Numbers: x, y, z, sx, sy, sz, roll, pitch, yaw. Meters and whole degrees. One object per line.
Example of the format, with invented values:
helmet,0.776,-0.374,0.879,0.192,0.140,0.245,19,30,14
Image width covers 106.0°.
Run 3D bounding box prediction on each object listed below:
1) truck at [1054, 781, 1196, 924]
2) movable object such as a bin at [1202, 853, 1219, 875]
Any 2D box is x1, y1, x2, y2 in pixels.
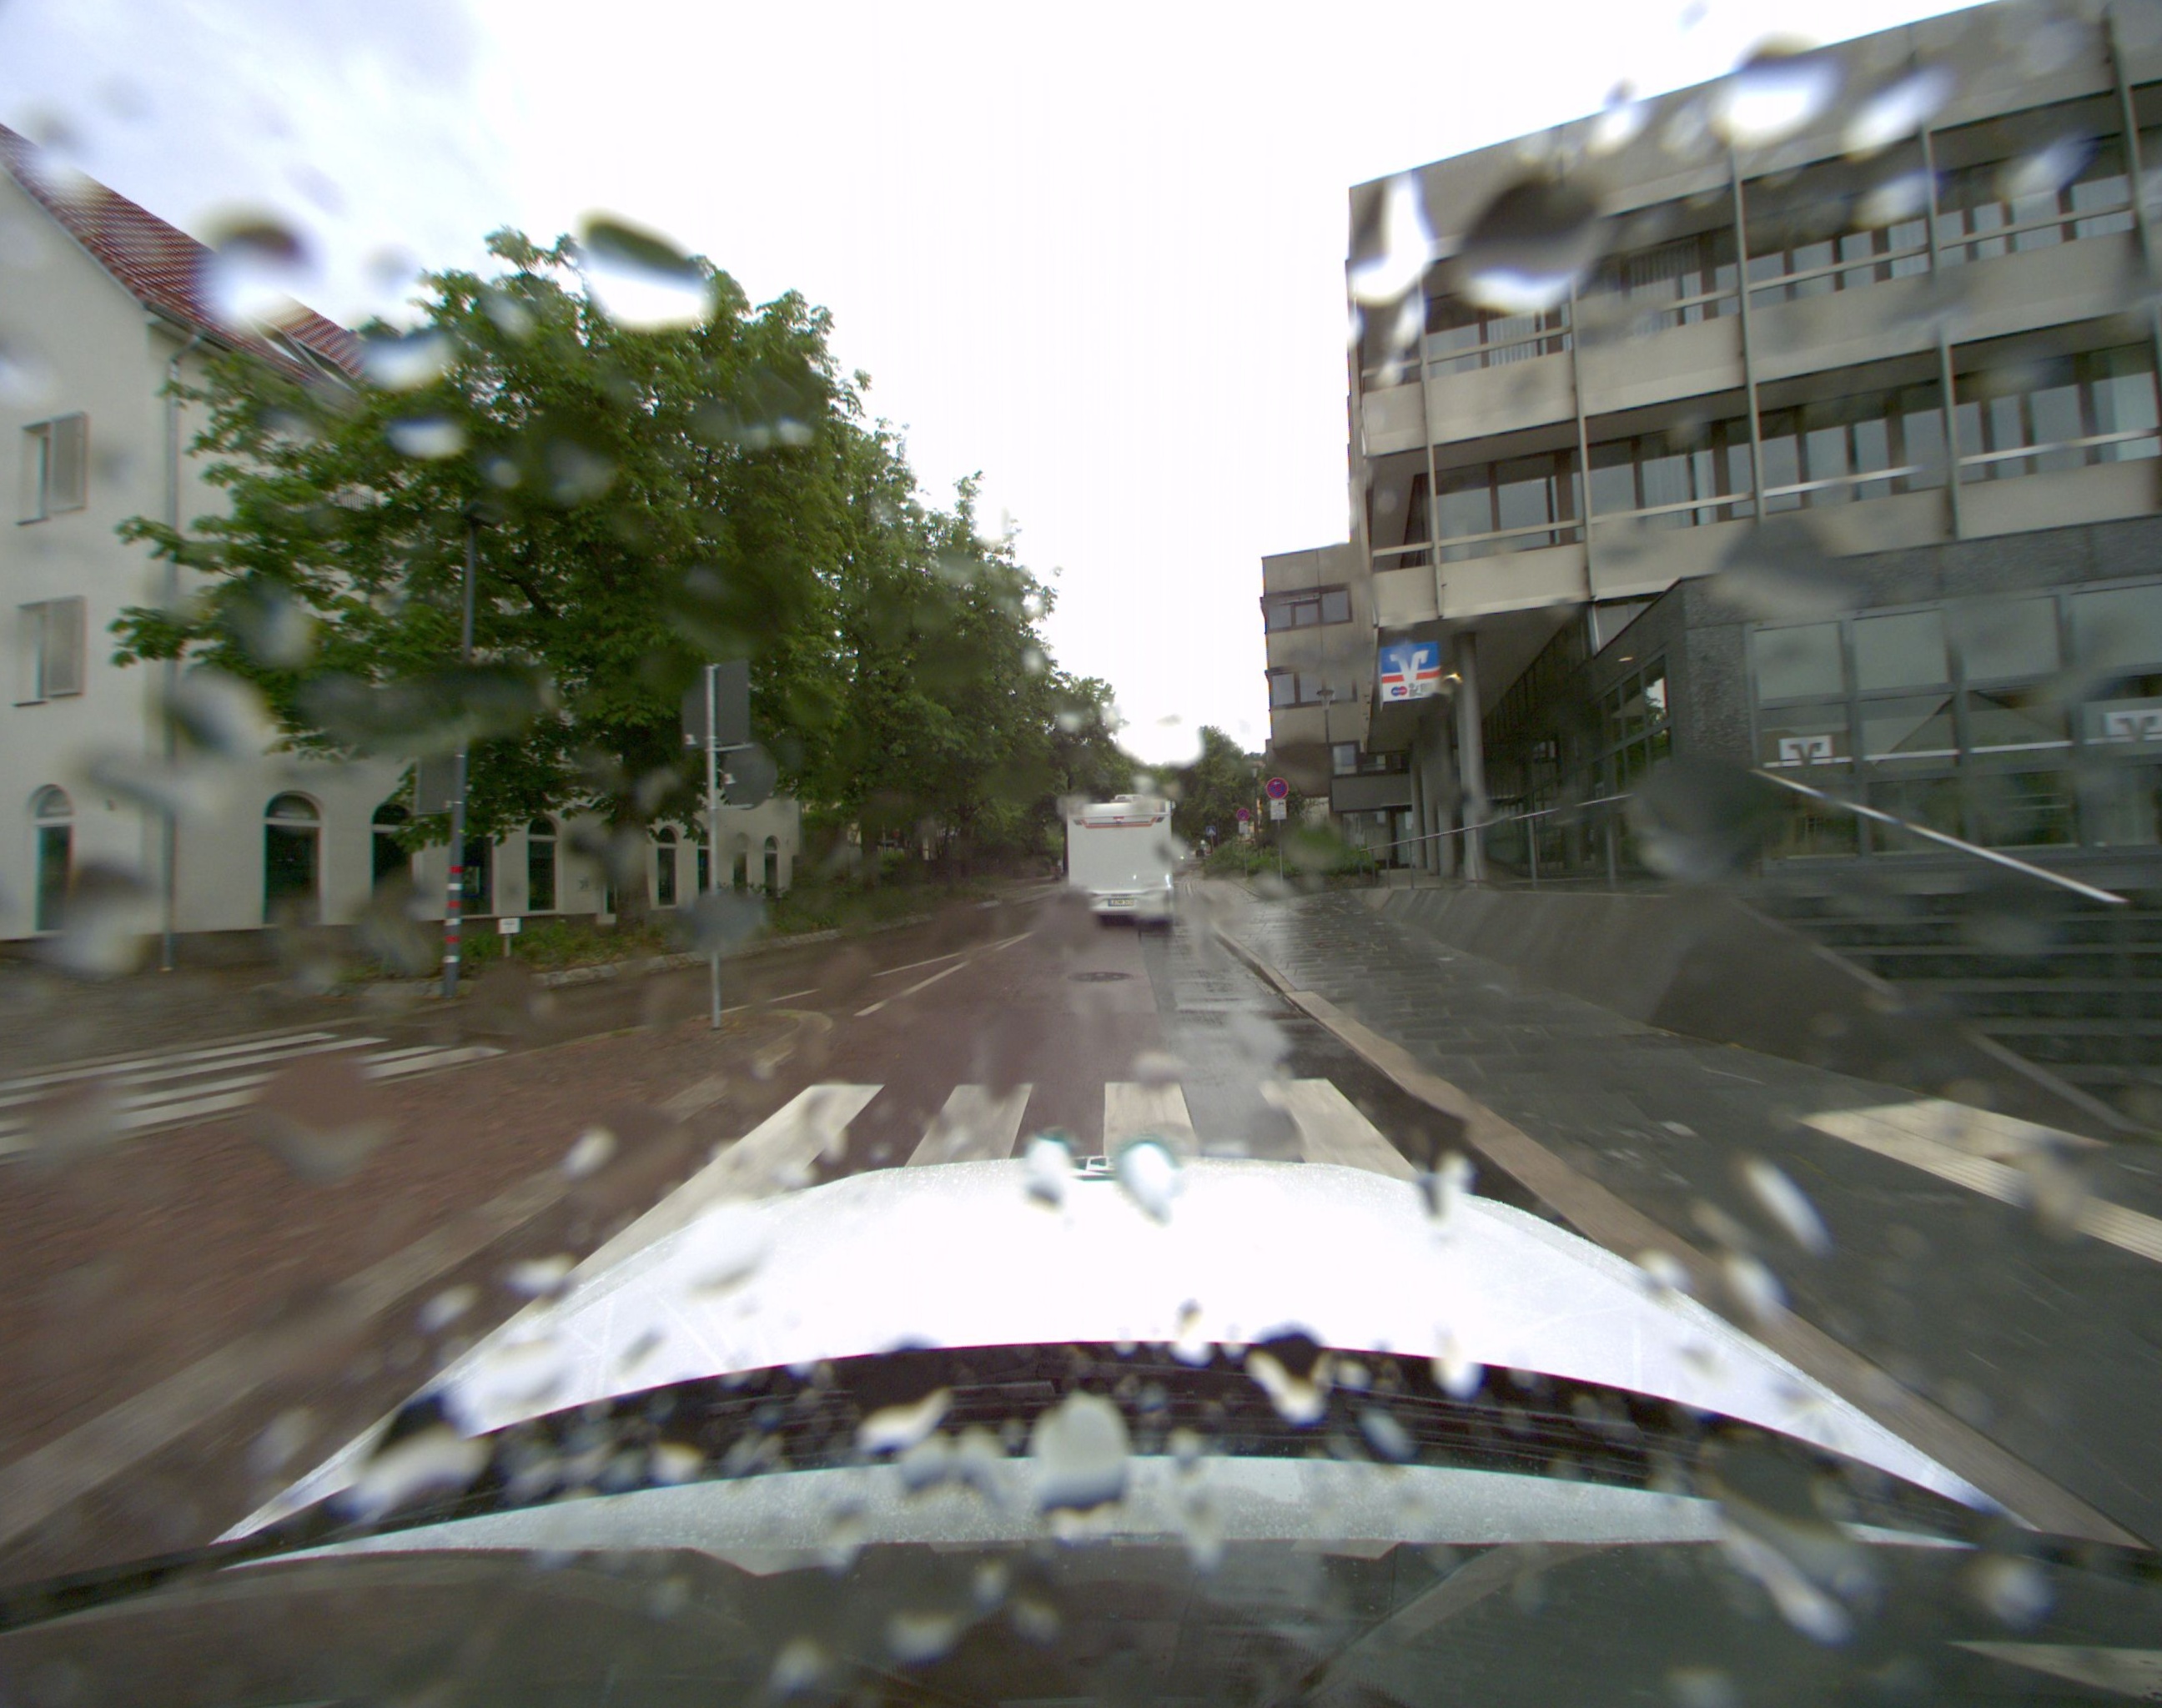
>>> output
truck,1.127,0.035,19.980,2.793,2.797,6.113,-4,-1,4
movable object such as a bin,7.137,0.556,44.891,0.697,1.124,0.575,-4,-2,25
